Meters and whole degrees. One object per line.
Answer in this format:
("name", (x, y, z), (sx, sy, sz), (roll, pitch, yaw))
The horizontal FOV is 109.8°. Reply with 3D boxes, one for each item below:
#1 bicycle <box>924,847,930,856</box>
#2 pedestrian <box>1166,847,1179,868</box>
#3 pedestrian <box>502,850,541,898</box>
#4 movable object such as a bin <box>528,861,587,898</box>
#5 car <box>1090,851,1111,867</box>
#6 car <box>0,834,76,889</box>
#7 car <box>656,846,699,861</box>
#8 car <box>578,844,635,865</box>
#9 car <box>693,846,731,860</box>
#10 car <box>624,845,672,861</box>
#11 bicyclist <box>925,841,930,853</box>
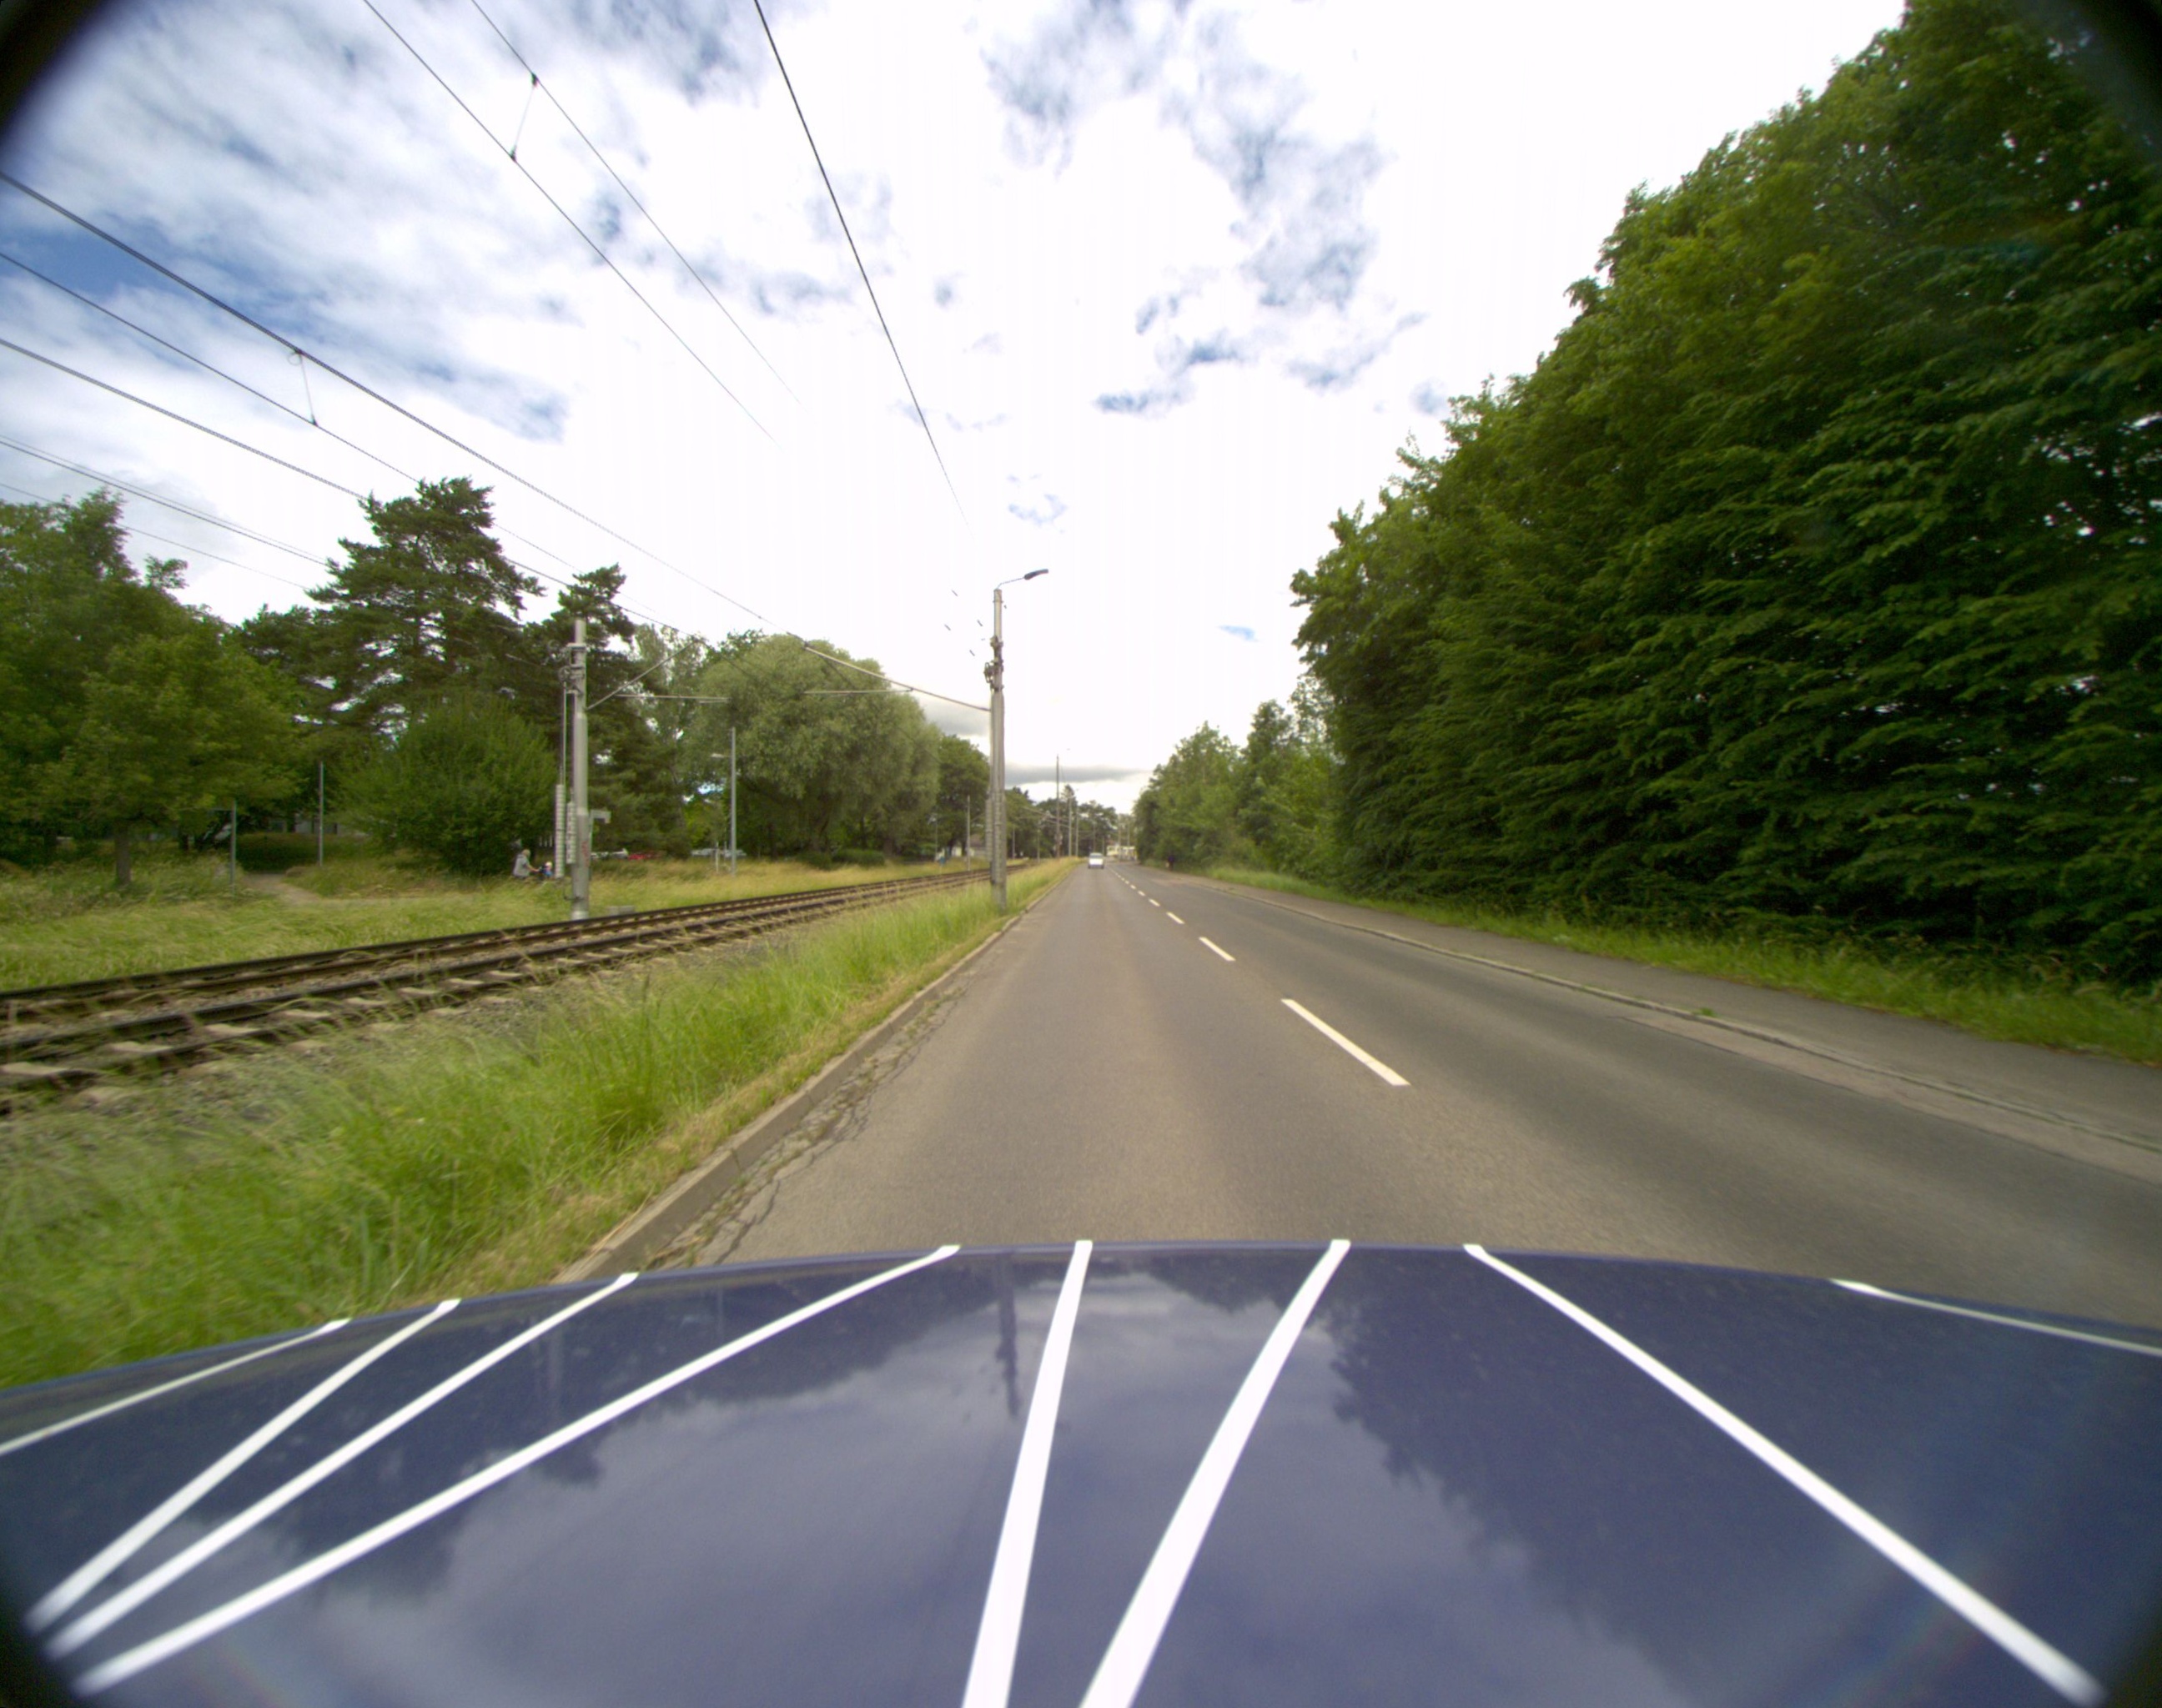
("bicycle", (-21.409, -0.410, 105.765), (0.582, 1.239, 1.928), (0, 1, -2))
("pedestrian", (7.910, 0.339, 65.768), (0.870, 1.759, 0.789), (3, 0, -5))
("pedestrian", (-19.779, 0.700, 26.865), (0.656, 1.657, 0.960), (1, 2, 42))
("movable object such as a bin", (-19.003, 0.910, 27.611), (0.658, 1.303, 1.646), (1, 1, 42))
("car", (2.143, 0.525, 82.140), (1.733, 1.639, 4.229), (-1, -1, 8))
("car", (-36.101, 0.259, 24.800), (1.750, 1.793, 3.996), (0, 0, -11))
("car", (-39.334, -0.076, 74.105), (1.998, 1.434, 4.000), (0, 0, 1))
("car", (-39.661, 0.012, 63.677), (1.998, 1.690, 4.229), (-1, 0, 2))
("car", (-39.284, -0.158, 80.895), (1.998, 1.434, 4.000), (0, 0, 1))
("car", (-39.496, -0.076, 69.387), (1.998, 1.434, 4.000), (0, 0, 1))
("bicyclist", (-21.418, -1.030, 105.843), (0.582, 1.686, 0.935), (0, 1, -2))
